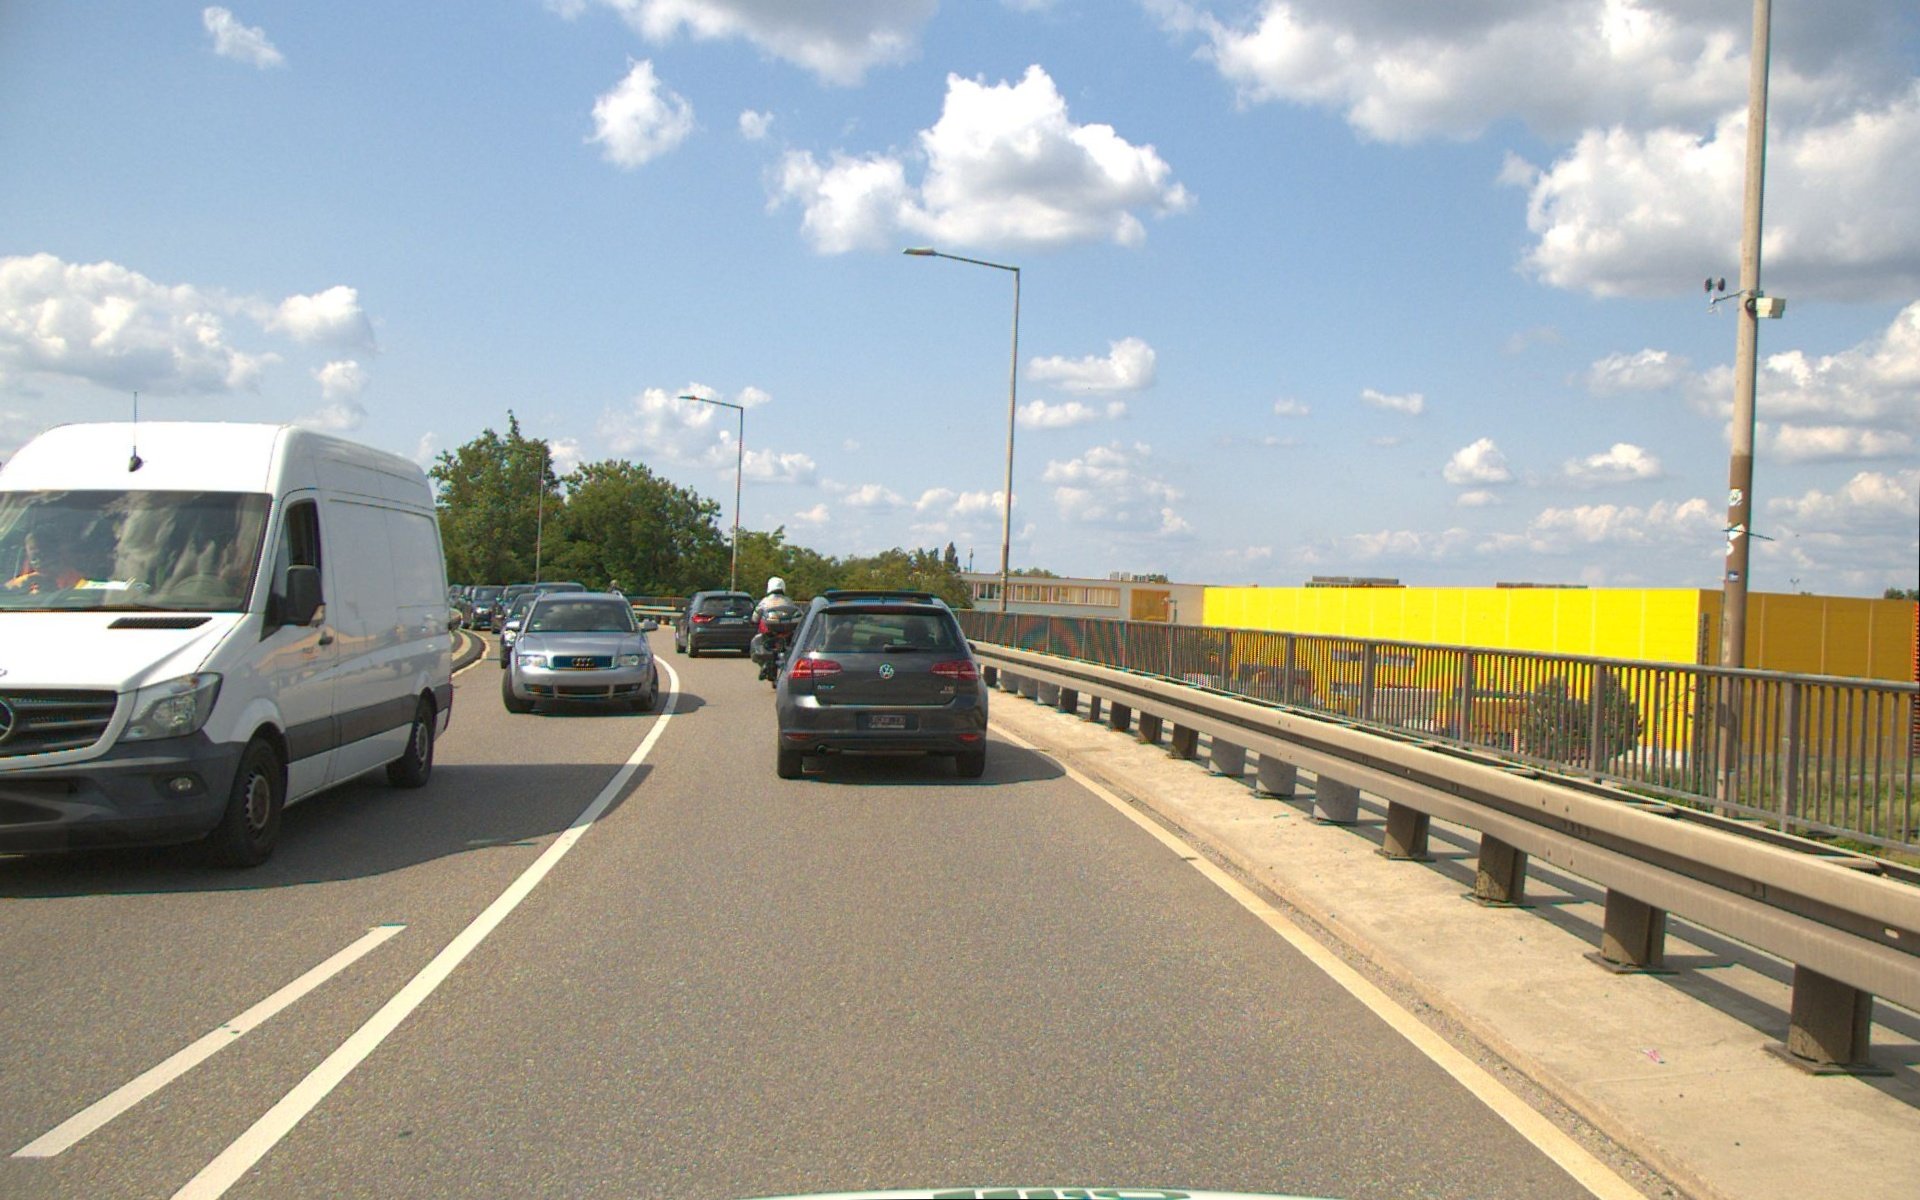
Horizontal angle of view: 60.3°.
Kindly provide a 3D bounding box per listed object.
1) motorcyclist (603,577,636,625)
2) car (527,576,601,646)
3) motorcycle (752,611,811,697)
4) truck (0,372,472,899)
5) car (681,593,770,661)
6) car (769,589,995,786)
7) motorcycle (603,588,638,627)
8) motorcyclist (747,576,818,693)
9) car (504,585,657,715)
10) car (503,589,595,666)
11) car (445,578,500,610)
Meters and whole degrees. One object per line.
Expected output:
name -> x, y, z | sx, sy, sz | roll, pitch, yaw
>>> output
motorcyclist -> -11.573, 0.032, 56.185 | 0.951, 1.624, 1.119 | 1, 0, -18
car -> -9.945, 0.235, 41.398 | 1.656, 1.624, 4.265 | -1, 1, -15
motorcycle -> -2.628, 0.758, 24.125 | 0.774, 1.151, 2.395 | 1, 0, -8
truck -> -4.895, 0.147, 10.969 | 1.954, 2.551, 5.942 | 0, 0, -4
car -> -5.239, 0.591, 36.686 | 1.653, 1.412, 3.726 | 0, -1, -13
car -> -0.813, 0.679, 14.666 | 1.612, 1.504, 3.864 | 1, 0, -9
motorcycle -> -11.514, 0.237, 55.998 | 0.874, 1.269, 2.386 | 1, 0, -19
motorcyclist -> -2.598, 0.488, 24.090 | 0.948, 1.648, 1.122 | 1, 0, -9
car -> -4.874, 0.578, 21.569 | 1.735, 1.485, 4.286 | -1, 0, -11
car -> -8.027, 0.502, 32.459 | 1.604, 1.368, 4.239 | -1, 0, -13
car -> -24.236, -0.308, 82.166 | 1.794, 1.513, 3.961 | -1, 1, -29
